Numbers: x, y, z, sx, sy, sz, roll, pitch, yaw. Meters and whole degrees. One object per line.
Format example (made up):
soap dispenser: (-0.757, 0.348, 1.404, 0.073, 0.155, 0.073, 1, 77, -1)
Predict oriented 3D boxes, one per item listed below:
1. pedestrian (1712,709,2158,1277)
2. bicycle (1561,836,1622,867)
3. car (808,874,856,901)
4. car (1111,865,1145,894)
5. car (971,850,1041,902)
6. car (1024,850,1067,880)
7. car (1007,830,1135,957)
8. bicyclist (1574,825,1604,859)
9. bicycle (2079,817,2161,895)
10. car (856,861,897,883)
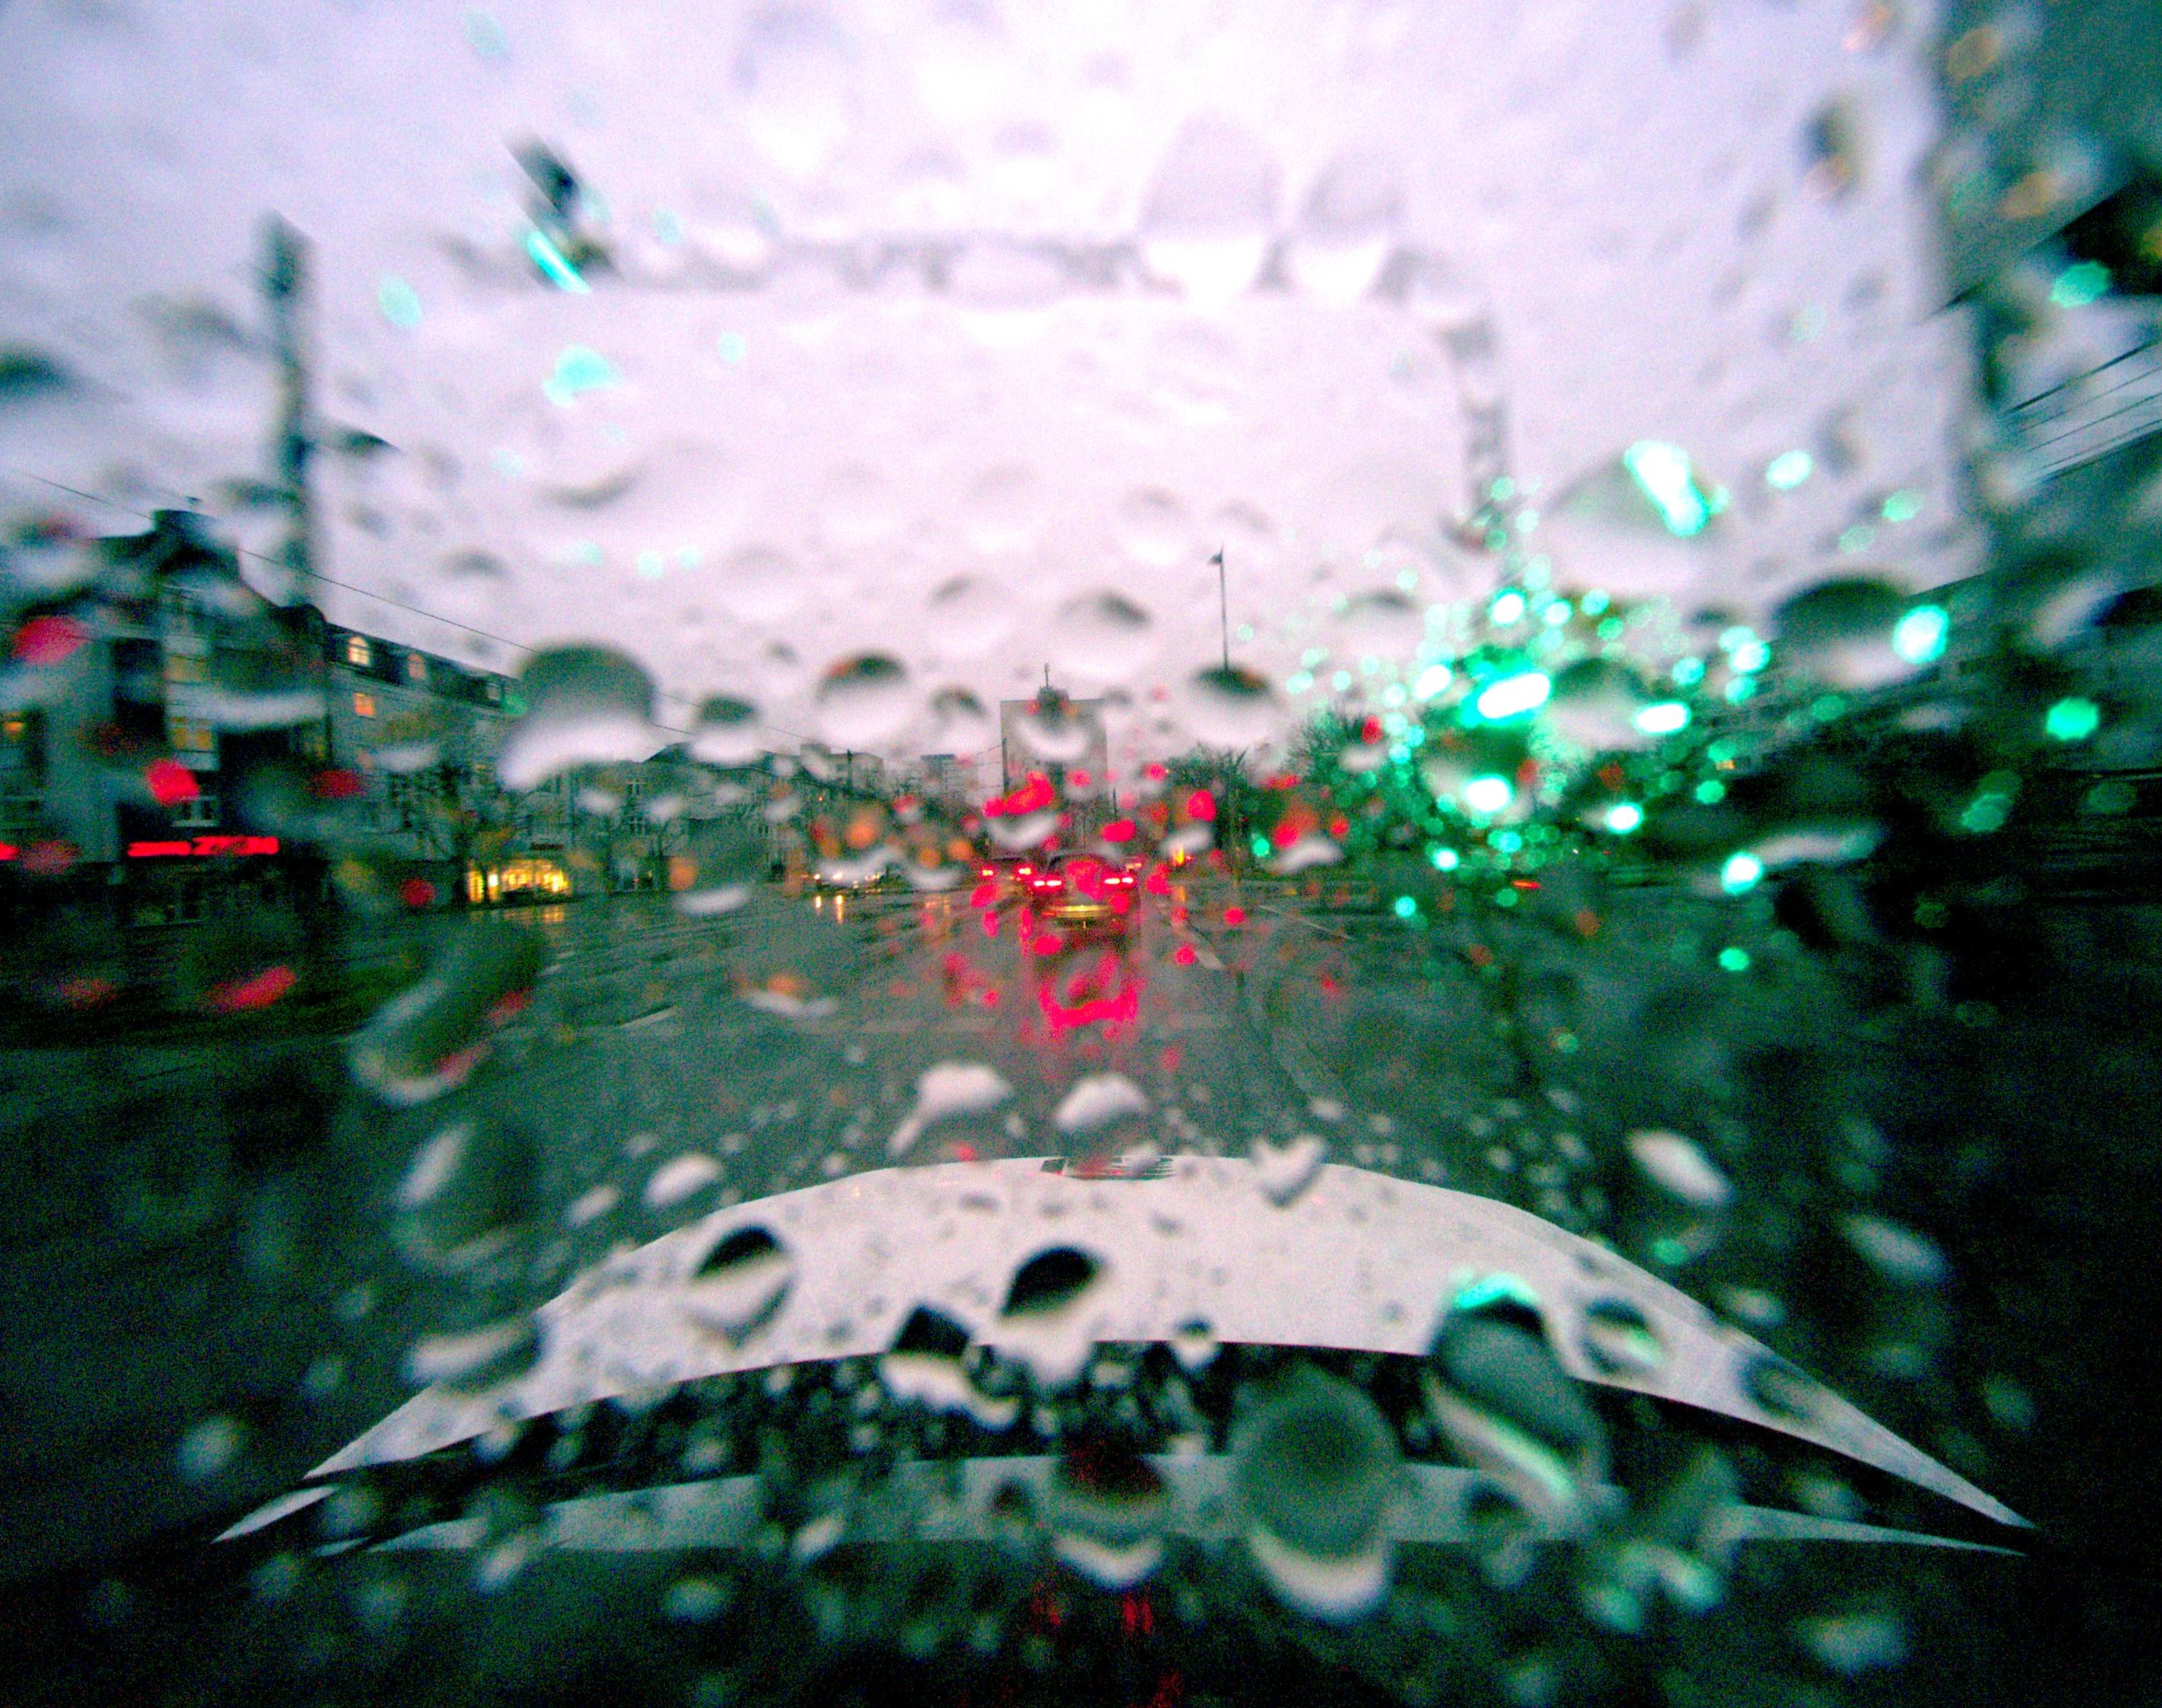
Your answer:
pedestrian: (3.056, 0.442, 3.065, 0.788, 1.750, 0.867, -7, -1, 29)
bicycle: (22.160, -0.117, 35.362, 1.958, 1.215, 1.040, -3, 1, -2)
car: (-15.969, 2.137, 52.336, 1.798, 1.607, 3.999, -1, -1, 0)
car: (3.266, 1.714, 56.000, 1.845, 1.892, 4.010, -1, -1, 10)
car: (-2.610, 0.778, 29.296, 1.986, 1.712, 4.325, -1, -1, 1)
car: (-2.065, 0.678, 48.586, 1.984, 1.642, 4.028, -1, -1, 5)
car: (-0.040, 0.666, 14.918, 1.985, 1.976, 4.071, -1, -1, 3)
bicyclist: (22.009, -0.507, 35.309, 0.748, 1.430, 0.928, -1, -1, 4)
bicycle: (15.698, 0.018, 11.664, 0.468, 1.104, 1.875, -3, -1, 1)
car: (-14.691, 1.299, 58.733, 1.582, 1.529, 4.934, -1, -1, 1)
